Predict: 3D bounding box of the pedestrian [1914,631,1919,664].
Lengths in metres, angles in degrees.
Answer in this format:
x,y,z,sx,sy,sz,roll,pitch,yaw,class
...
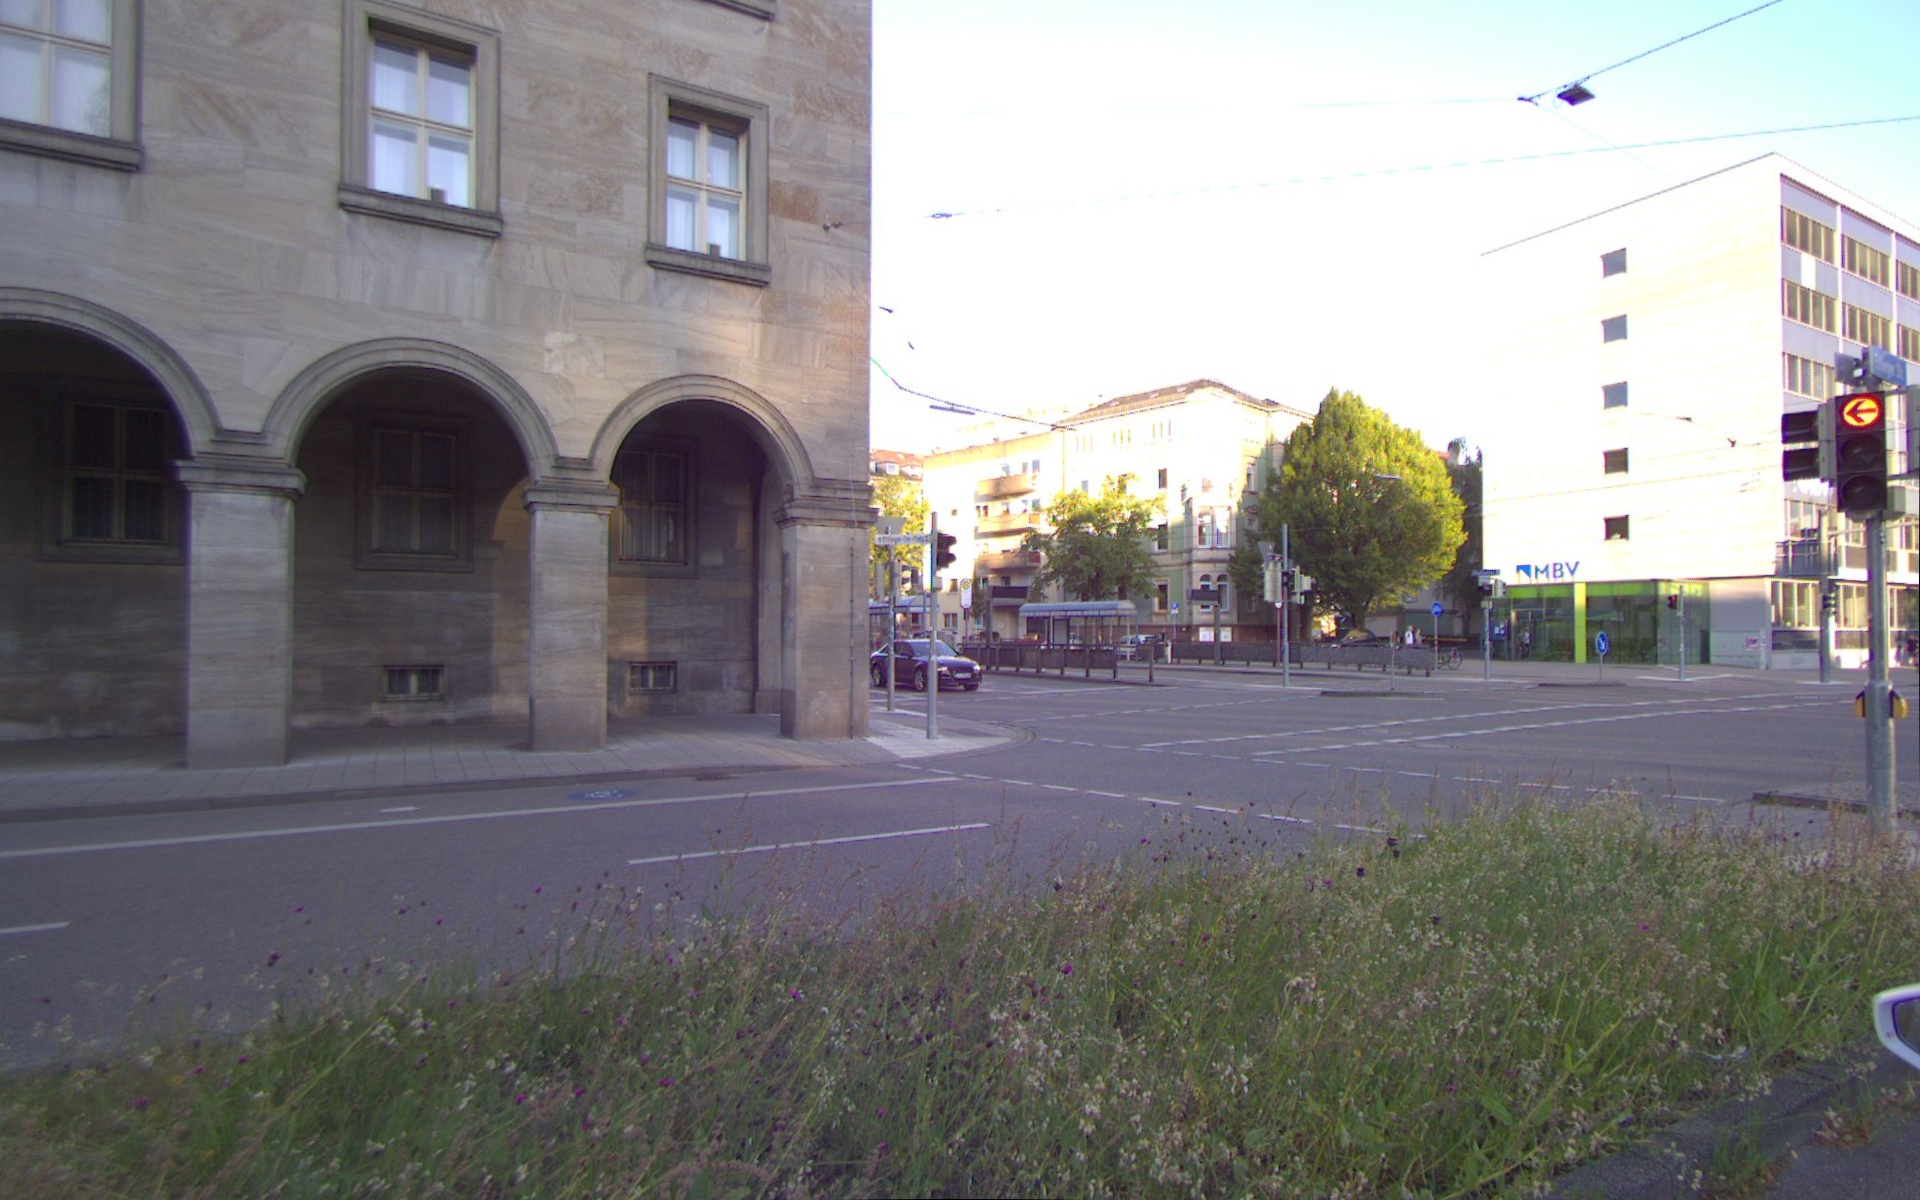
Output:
x,y,z,sx,sy,sz,roll,pitch,yaw,class
50.554,2.485,52.730,0.494,1.701,0.549,1,-2,-30,pedestrian

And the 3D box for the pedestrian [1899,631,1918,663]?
x,y,z,sx,sy,sz,roll,pitch,yaw,class
49.719,2.459,52.650,0.494,1.701,0.549,1,-2,-30,pedestrian

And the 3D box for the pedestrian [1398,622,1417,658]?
x,y,z,sx,sy,sz,roll,pitch,yaw,class
22.528,2.002,50.533,0.718,1.813,0.634,2,-2,-44,pedestrian

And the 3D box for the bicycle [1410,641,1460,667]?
x,y,z,sx,sy,sz,roll,pitch,yaw,class
21.104,2.392,44.583,2.183,1.127,0.834,1,-2,-26,bicycle

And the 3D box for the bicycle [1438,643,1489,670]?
x,y,z,sx,sy,sz,roll,pitch,yaw,class
21.736,2.421,43.329,2.183,1.127,0.834,1,-2,-26,bicycle

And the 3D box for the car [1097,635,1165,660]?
x,y,z,sx,sy,sz,roll,pitch,yaw,class
10.041,2.766,59.189,3.545,1.390,1.830,-2,-3,45,car

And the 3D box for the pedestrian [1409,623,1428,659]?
x,y,z,sx,sy,sz,roll,pitch,yaw,class
23.204,2.087,50.879,0.718,1.813,0.634,2,-2,-43,pedestrian

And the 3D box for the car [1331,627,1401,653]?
x,y,z,sx,sy,sz,roll,pitch,yaw,class
22.247,2.185,55.071,3.553,1.390,1.826,1,-2,-32,car

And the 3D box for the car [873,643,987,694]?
x,y,z,sx,sy,sz,roll,pitch,yaw,class
-0.968,1.969,29.728,1.791,1.344,4.120,1,-2,-27,car
